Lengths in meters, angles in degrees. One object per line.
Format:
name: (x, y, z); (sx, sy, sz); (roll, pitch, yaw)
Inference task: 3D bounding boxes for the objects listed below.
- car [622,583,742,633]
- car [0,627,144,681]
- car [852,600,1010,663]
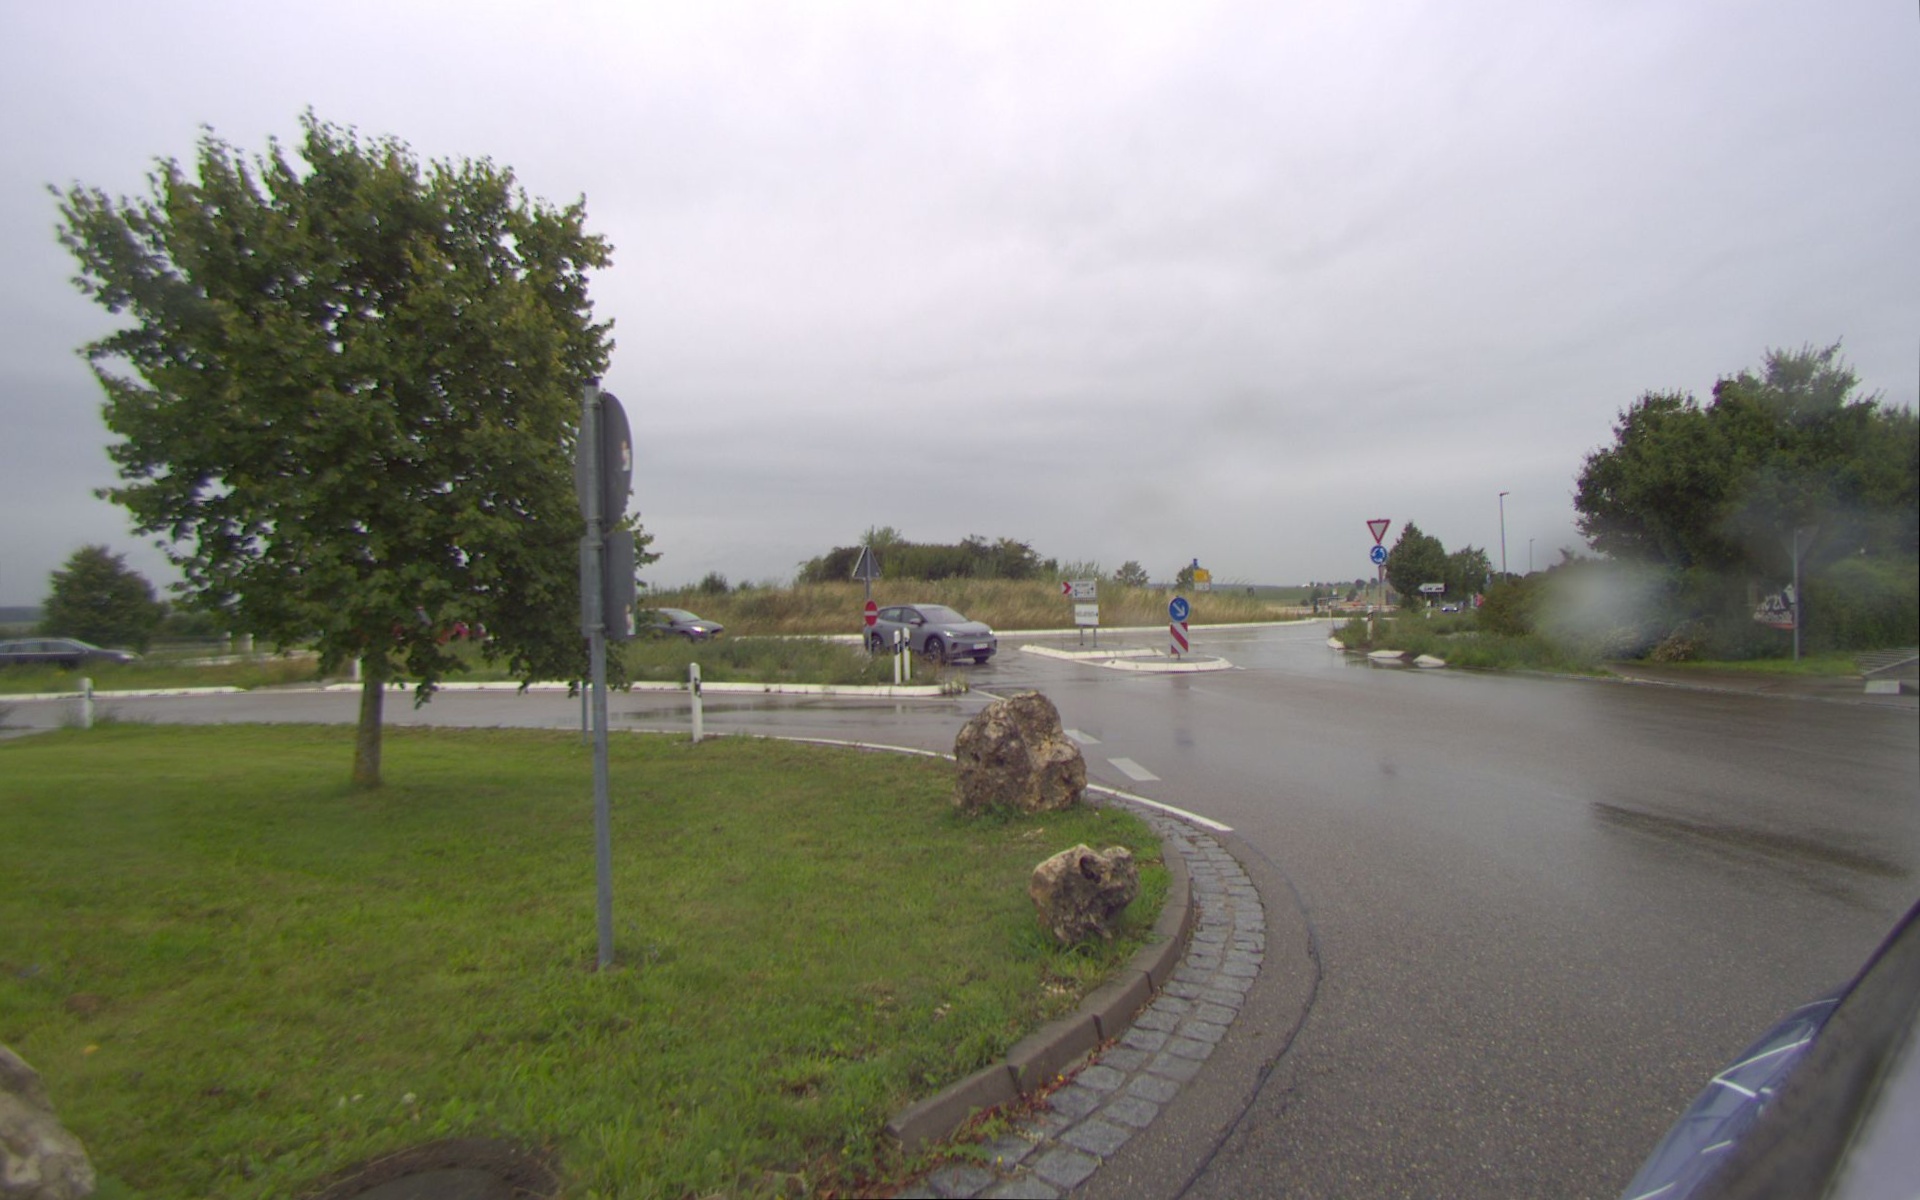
car: (-10.381, 0.286, 37.854); (3.945, 1.609, 1.818); (-2, 3, 18)
car: (-30.823, 1.838, 34.507); (4.437, 1.623, 2.000); (-2, -1, -33)
car: (-0.891, 0.836, 28.587); (1.968, 1.594, 4.487); (-1, 0, -44)
